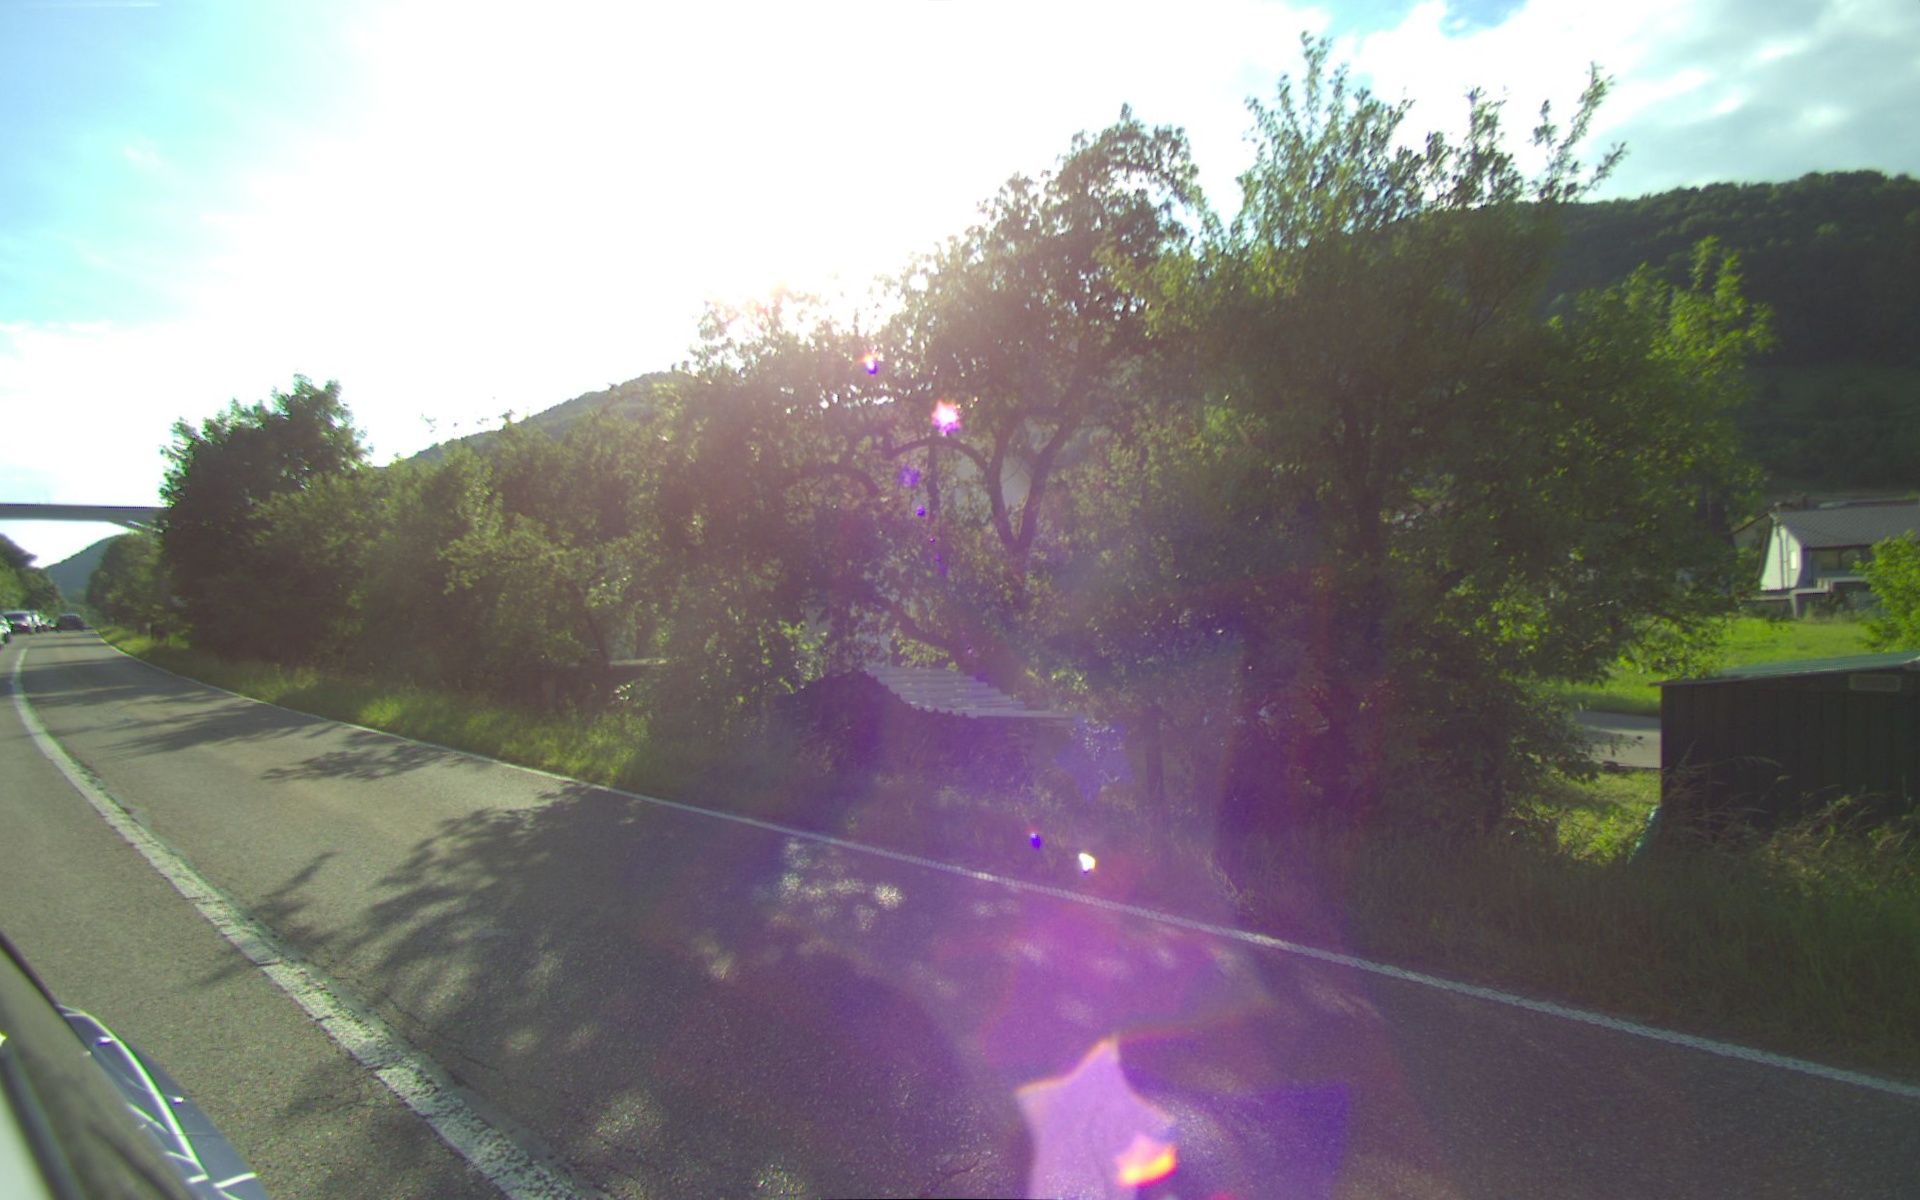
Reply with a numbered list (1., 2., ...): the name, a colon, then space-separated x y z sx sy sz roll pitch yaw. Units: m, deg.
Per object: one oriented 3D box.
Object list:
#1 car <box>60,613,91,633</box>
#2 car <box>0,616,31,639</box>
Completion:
1. car: -72.783 1.871 83.258 1.792 1.630 3.809 1 -2 -43
2. car: -69.223 1.991 73.880 1.791 1.630 4.007 1 -2 -39
